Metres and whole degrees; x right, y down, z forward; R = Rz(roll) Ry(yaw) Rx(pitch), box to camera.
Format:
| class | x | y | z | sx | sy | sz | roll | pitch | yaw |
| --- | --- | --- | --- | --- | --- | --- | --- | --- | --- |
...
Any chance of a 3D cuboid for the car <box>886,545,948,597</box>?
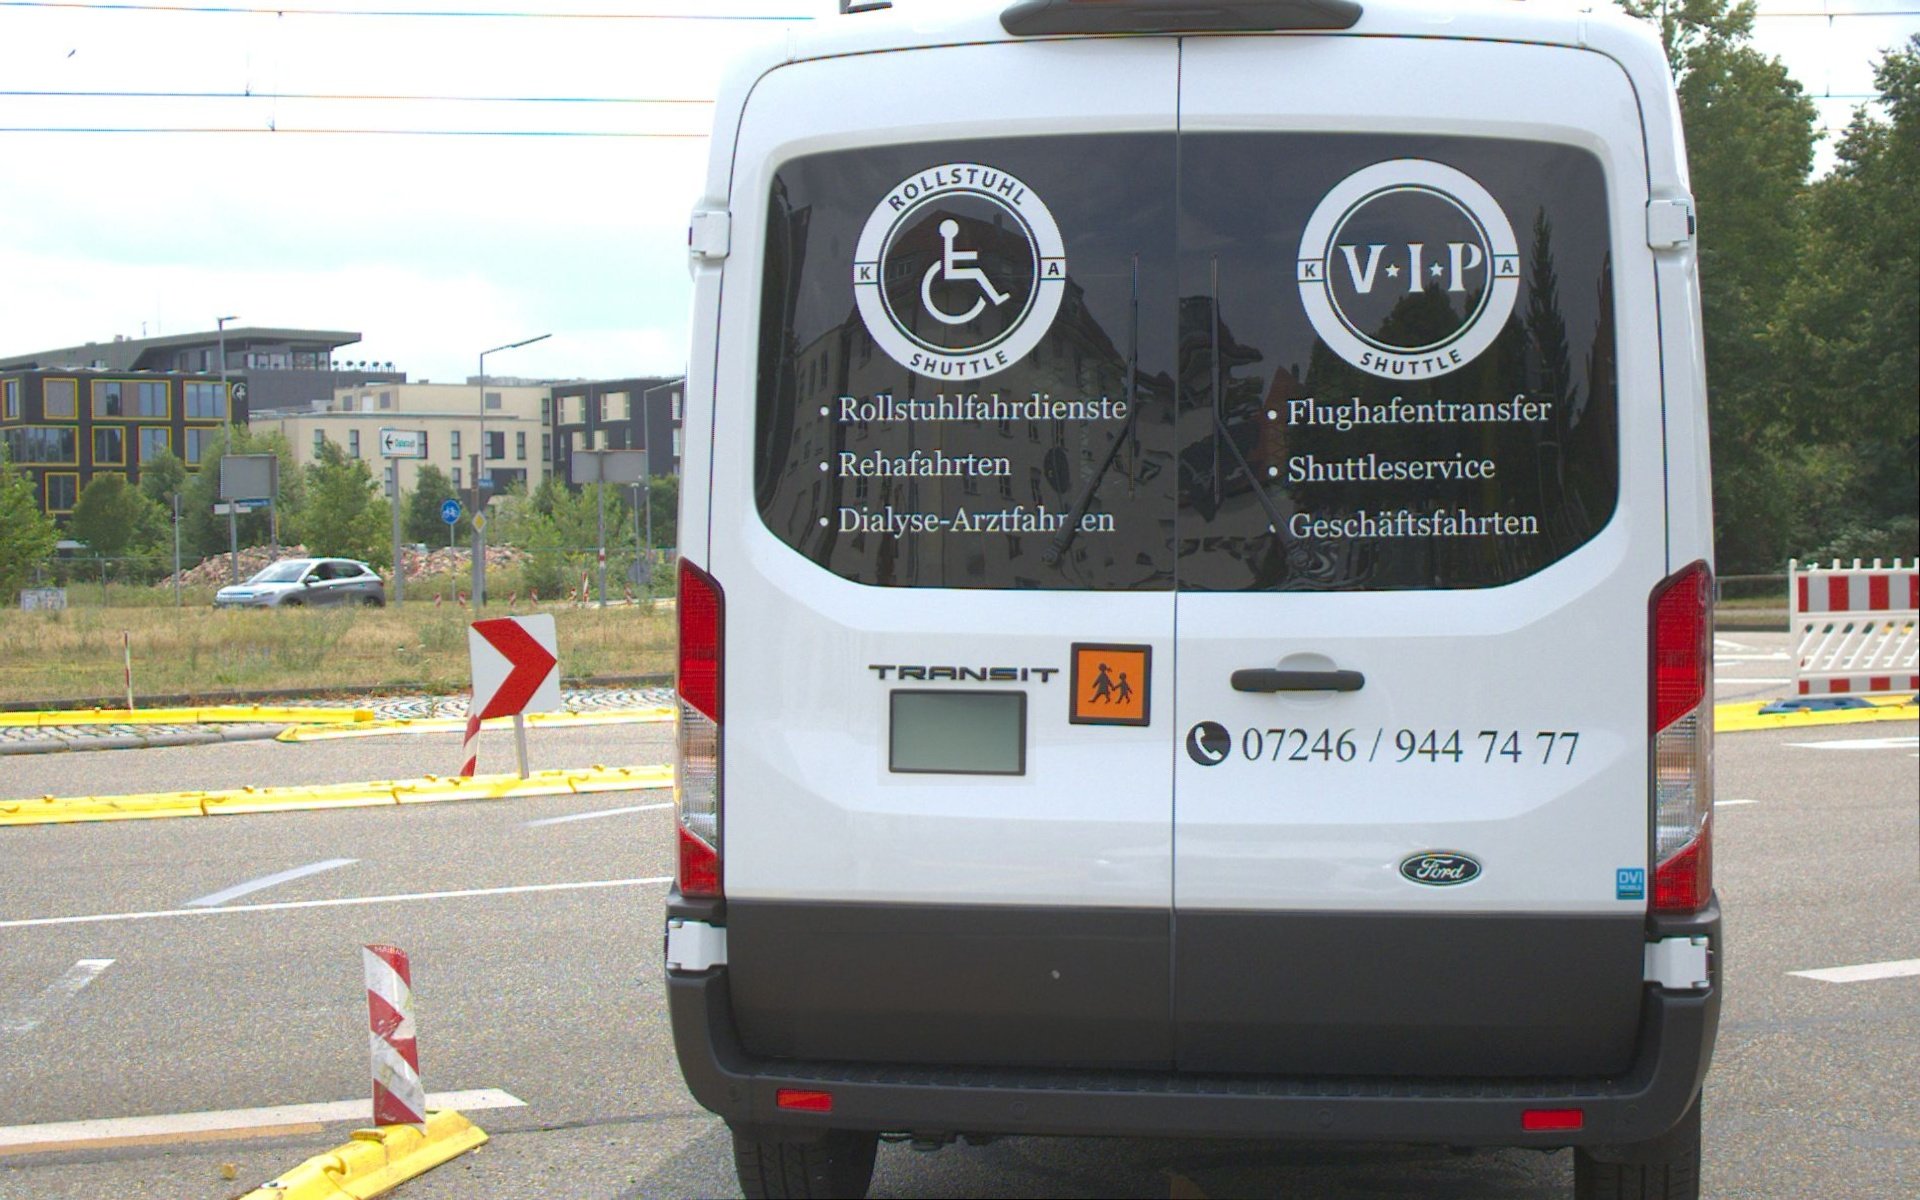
| class | x | y | z | sx | sy | sz | roll | pitch | yaw |
| --- | --- | --- | --- | --- | --- | --- | --- | --- | --- |
| car | -1.588 | -1.065 | 127.747 | 1.994 | 1.842 | 3.999 | 0 | 0 | 4 |

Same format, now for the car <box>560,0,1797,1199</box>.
| class | x | y | z | sx | sy | sz | roll | pitch | yaw |
| --- | --- | --- | --- | --- | --- | --- | --- | --- | --- |
| car | 0.684 | -0.050 | 8.776 | 2.127 | 2.688 | 5.630 | -1 | 1 | 7 |

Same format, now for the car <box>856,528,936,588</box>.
| class | x | y | z | sx | sy | sz | roll | pitch | yaw |
| --- | --- | --- | --- | --- | --- | --- | --- | --- | --- |
| car | -2.074 | -1.350 | 111.914 | 1.994 | 1.842 | 3.998 | 0 | 0 | 8 |

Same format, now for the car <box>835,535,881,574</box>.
| class | x | y | z | sx | sy | sz | roll | pitch | yaw |
| --- | --- | --- | --- | --- | --- | --- | --- | --- | --- |
| car | -5.019 | -2.259 | 170.060 | 1.994 | 1.842 | 3.999 | 0 | 0 | 3 |

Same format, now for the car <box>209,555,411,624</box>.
| class | x | y | z | sx | sy | sz | roll | pitch | yaw |
| --- | --- | --- | --- | --- | --- | --- | --- | --- | --- |
| car | -14.192 | -0.233 | 75.171 | 1.832 | 1.458 | 3.990 | -1 | 0 | 44 |
